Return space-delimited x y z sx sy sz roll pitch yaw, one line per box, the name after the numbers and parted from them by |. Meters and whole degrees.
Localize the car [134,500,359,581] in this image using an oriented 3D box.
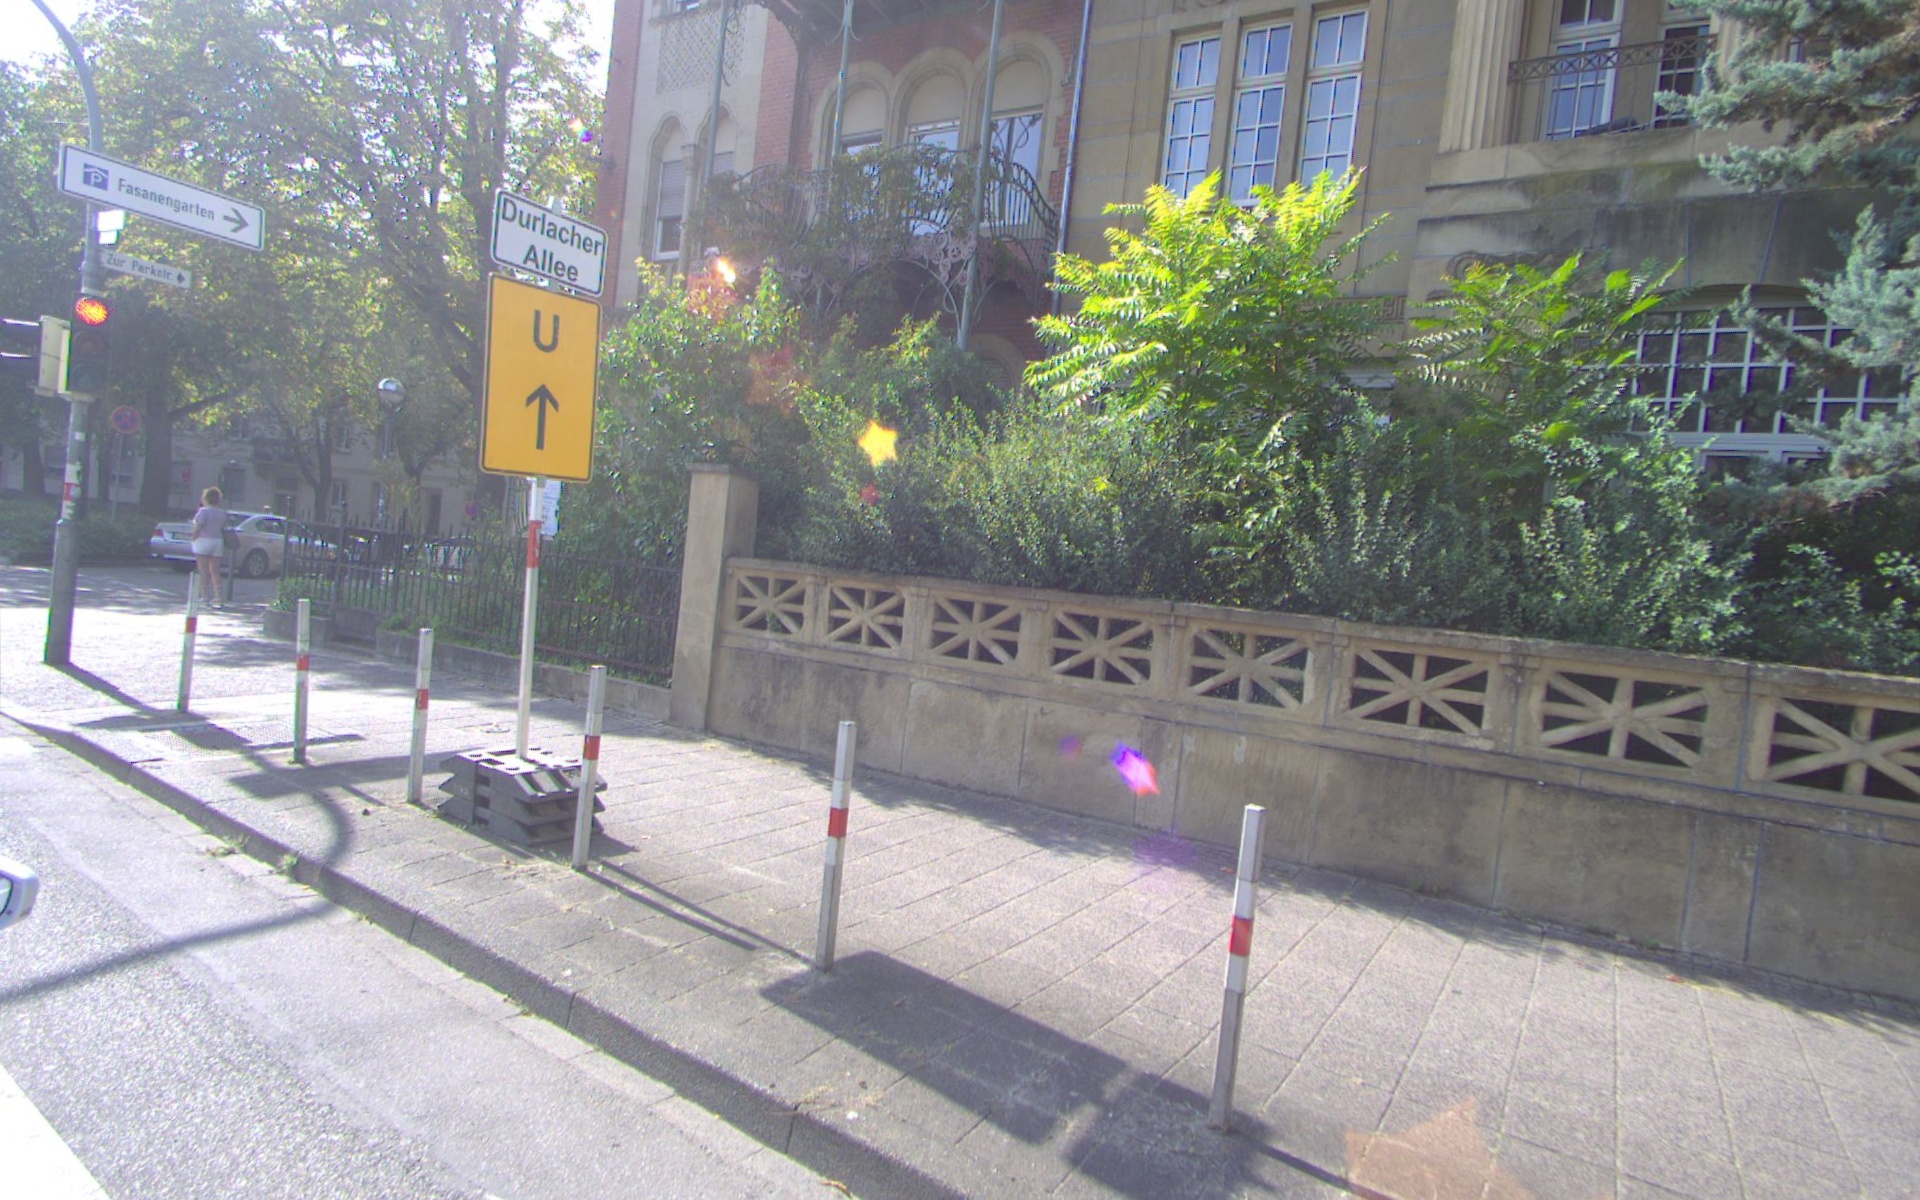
-16.394 -1.285 23.484 1.835 1.485 4.784 4 0 -1 | car

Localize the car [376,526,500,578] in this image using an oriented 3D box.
-19.370 -1.776 37.316 4.069 1.447 1.757 7 1 21 | car

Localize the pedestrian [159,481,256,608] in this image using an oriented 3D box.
-11.102 -0.807 14.853 0.757 1.753 0.752 7 2 21 | pedestrian

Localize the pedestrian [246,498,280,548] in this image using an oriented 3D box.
-26.376 -2.922 38.055 0.887 1.763 0.767 5 2 -40 | pedestrian

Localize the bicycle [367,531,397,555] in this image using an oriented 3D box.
-27.548 -2.703 47.962 1.528 0.990 0.425 7 2 28 | bicycle
